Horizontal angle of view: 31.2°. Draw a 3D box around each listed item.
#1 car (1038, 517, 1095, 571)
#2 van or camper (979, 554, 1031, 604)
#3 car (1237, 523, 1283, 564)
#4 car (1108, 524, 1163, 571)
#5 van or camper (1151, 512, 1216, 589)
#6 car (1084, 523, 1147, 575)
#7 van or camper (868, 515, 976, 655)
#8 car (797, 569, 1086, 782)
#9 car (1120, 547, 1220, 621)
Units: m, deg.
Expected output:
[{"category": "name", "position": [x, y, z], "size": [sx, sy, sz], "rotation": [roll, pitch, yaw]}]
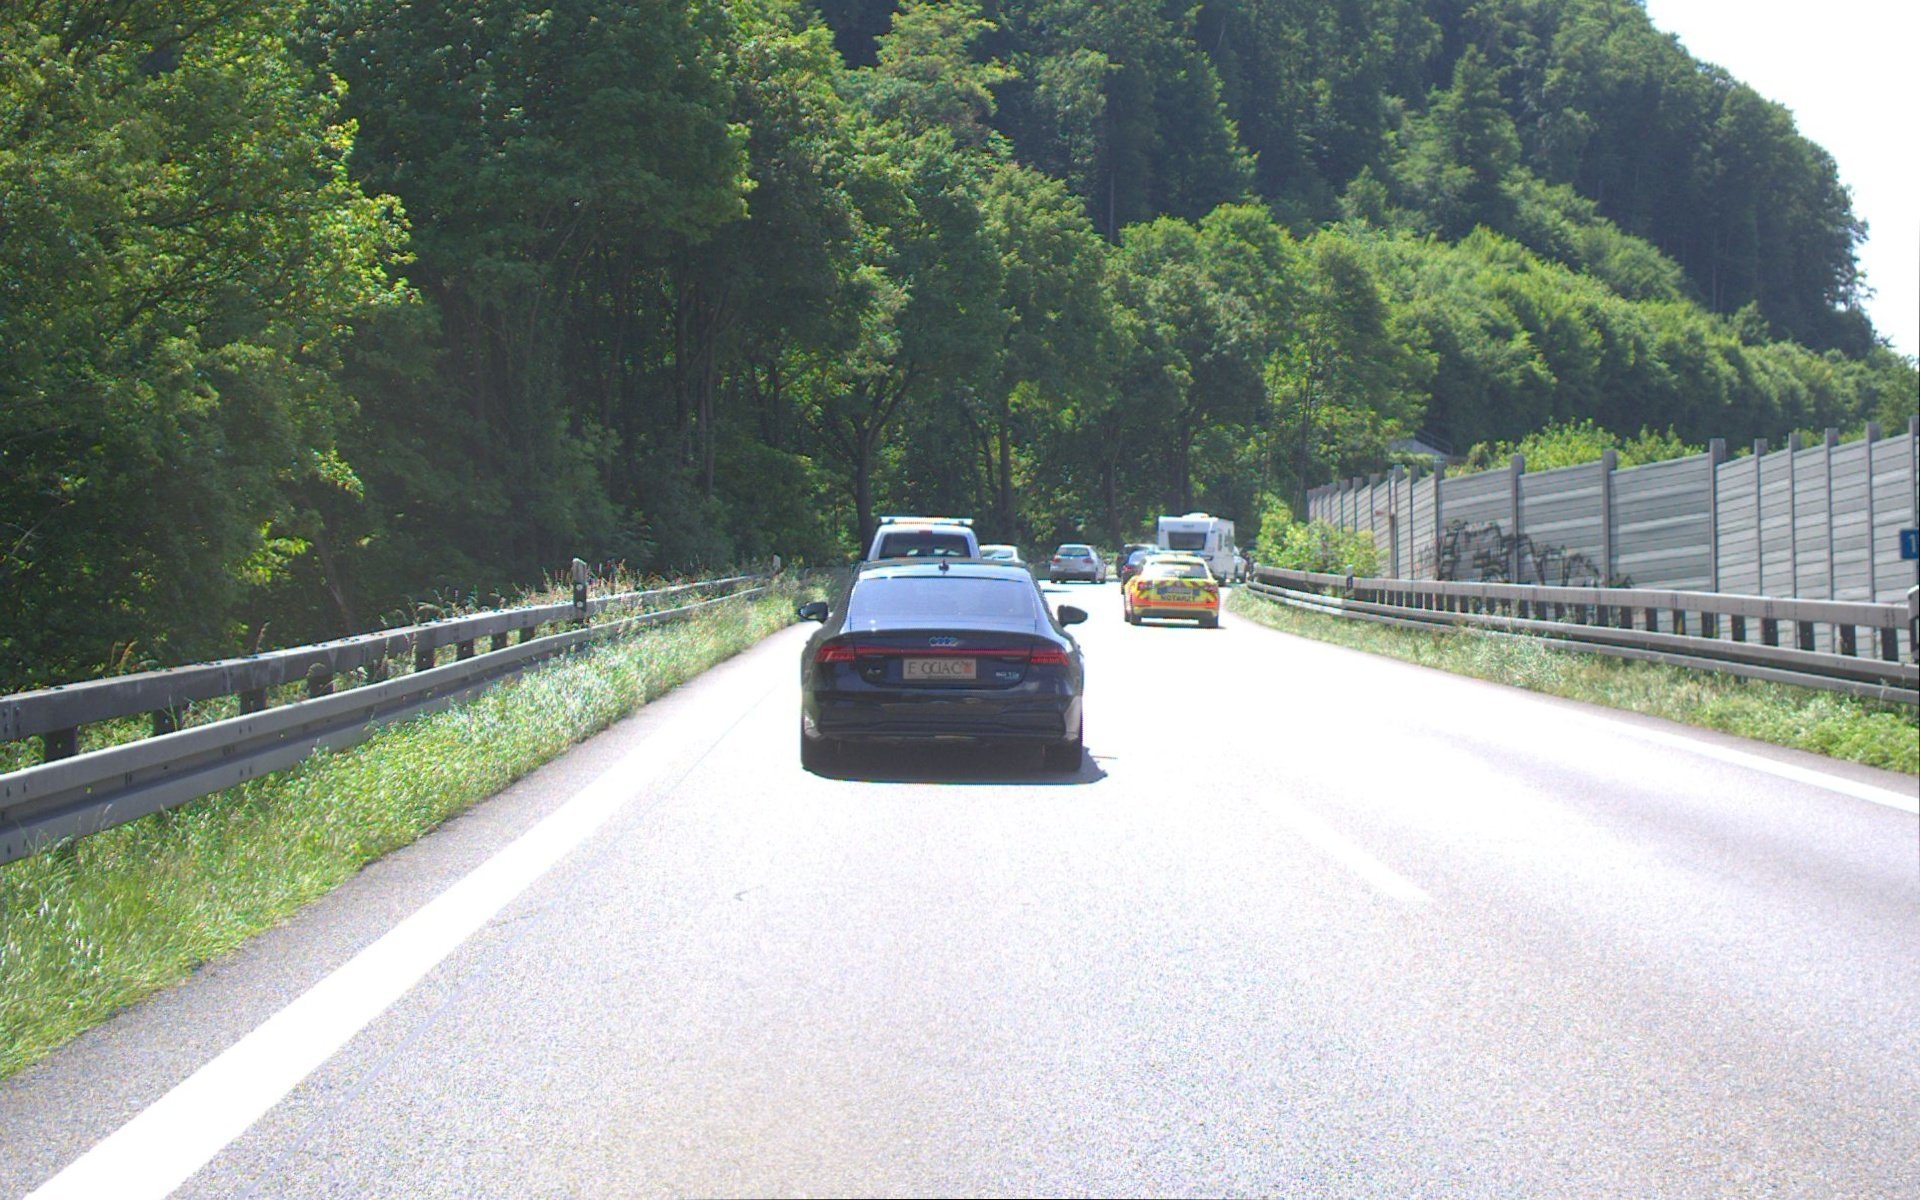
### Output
[{"category": "car", "position": [4.024, -2.128, 130.663], "size": [1.993, 2.007, 4.000], "rotation": [0, 1, -1]}, {"category": "van or camper", "position": [1.368, -0.666, 106.509], "size": [1.557, 1.528, 3.505], "rotation": [0, 1, 0]}, {"category": "car", "position": [15.066, -2.831, 172.327], "size": [1.994, 2.007, 3.998], "rotation": [0, 1, 9]}, {"category": "car", "position": [7.560, -2.253, 147.906], "size": [1.994, 2.007, 3.999], "rotation": [0, 1, 8]}, {"category": "van or camper", "position": [8.689, -1.923, 133.572], "size": [2.456, 2.908, 6.125], "rotation": [0, 1, 4]}, {"category": "car", "position": [5.006, -1.647, 110.959], "size": [1.773, 1.631, 4.000], "rotation": [1, 1, -1]}, {"category": "van or camper", "position": [-0.505, -0.216, 46.388], "size": [1.391, 1.809, 4.000], "rotation": [0, 1, 0]}, {"category": "car", "position": [-0.133, 0.464, 23.898], "size": [1.837, 1.345, 4.000], "rotation": [0, 1, 0]}, {"category": "car", "position": [4.316, -0.349, 71.078], "size": [1.863, 1.483, 4.000], "rotation": [0, 1, 1]}]
